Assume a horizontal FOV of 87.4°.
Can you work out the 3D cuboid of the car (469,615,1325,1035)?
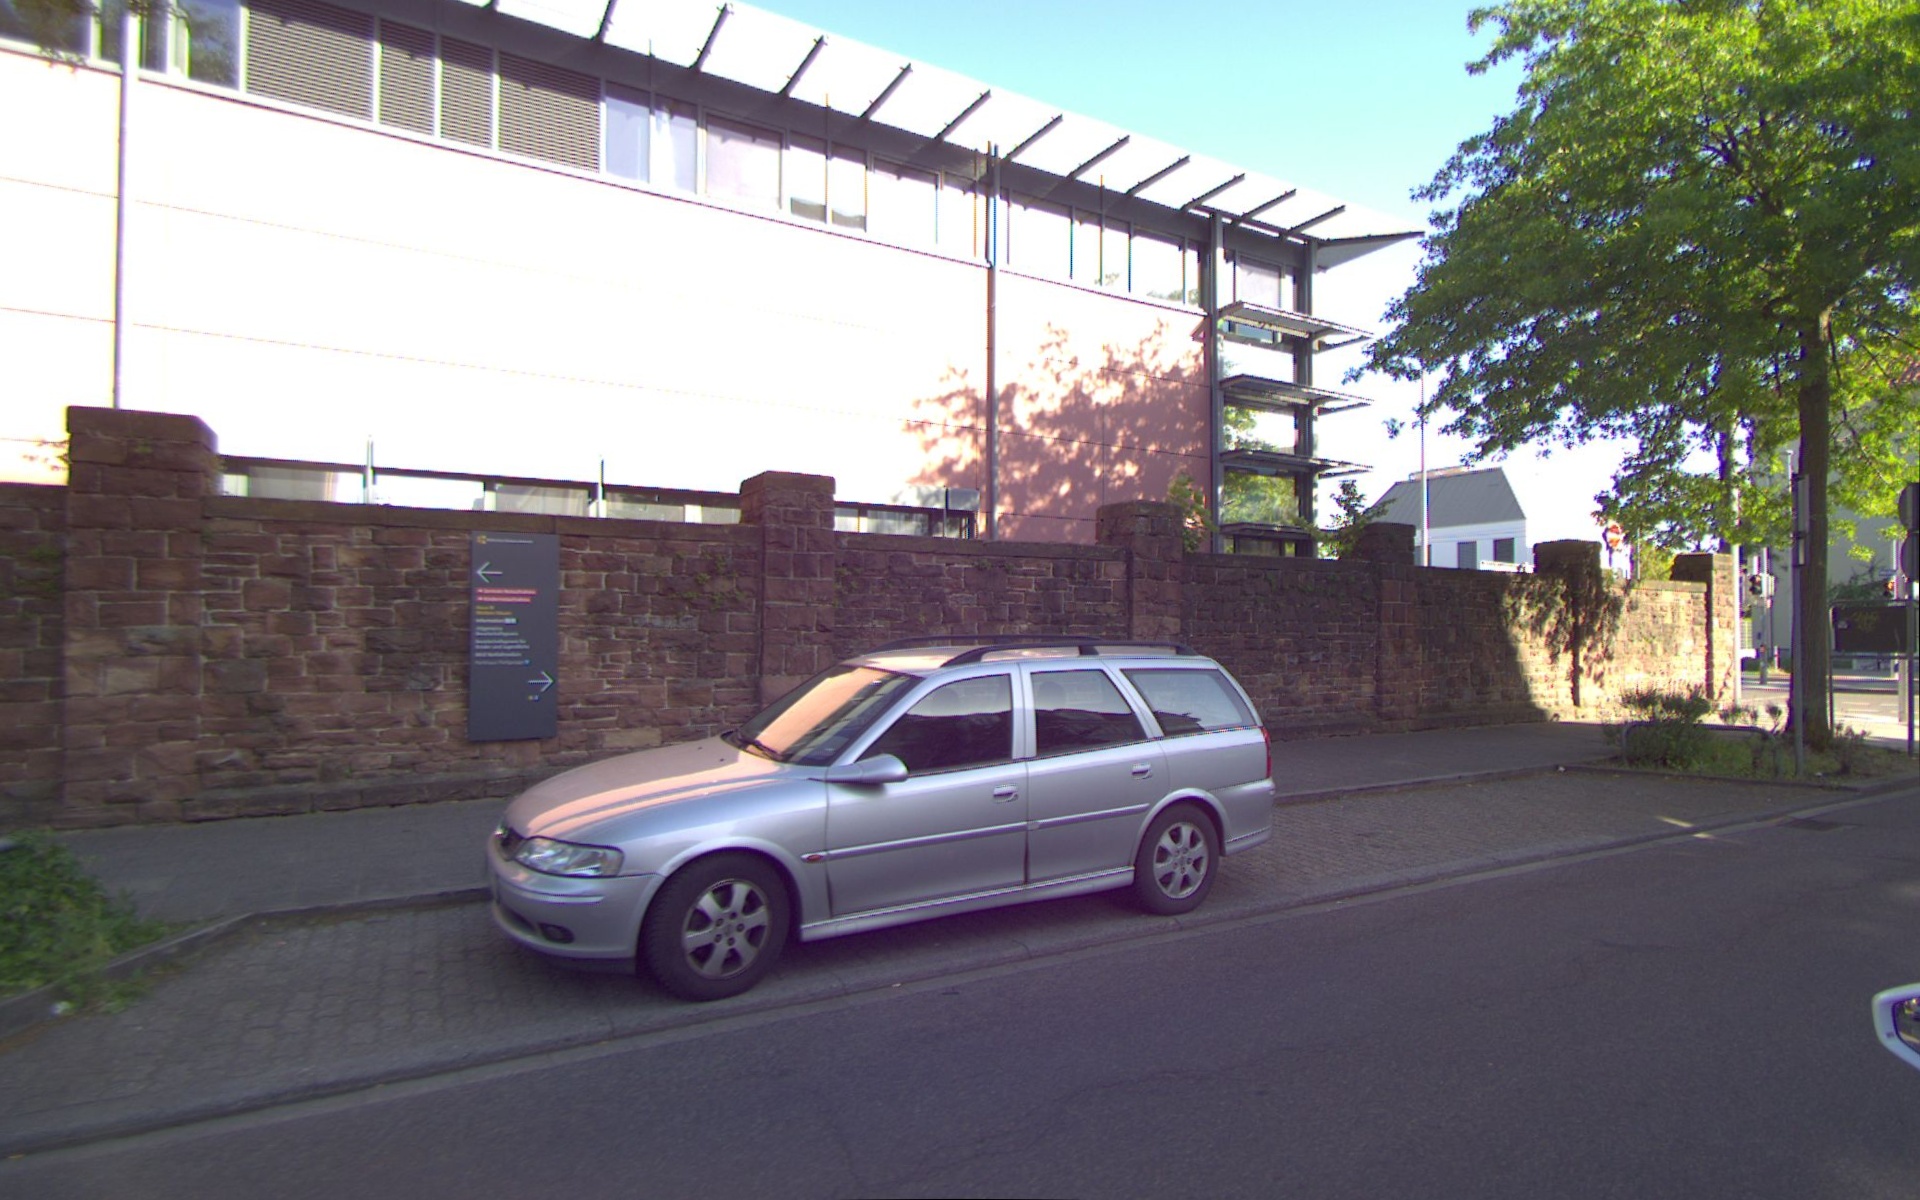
[{"bbox_3d":[-0.184,0.889,5.551,4.426,1.495,1.718,2,0,-31],"label":"car"}]
